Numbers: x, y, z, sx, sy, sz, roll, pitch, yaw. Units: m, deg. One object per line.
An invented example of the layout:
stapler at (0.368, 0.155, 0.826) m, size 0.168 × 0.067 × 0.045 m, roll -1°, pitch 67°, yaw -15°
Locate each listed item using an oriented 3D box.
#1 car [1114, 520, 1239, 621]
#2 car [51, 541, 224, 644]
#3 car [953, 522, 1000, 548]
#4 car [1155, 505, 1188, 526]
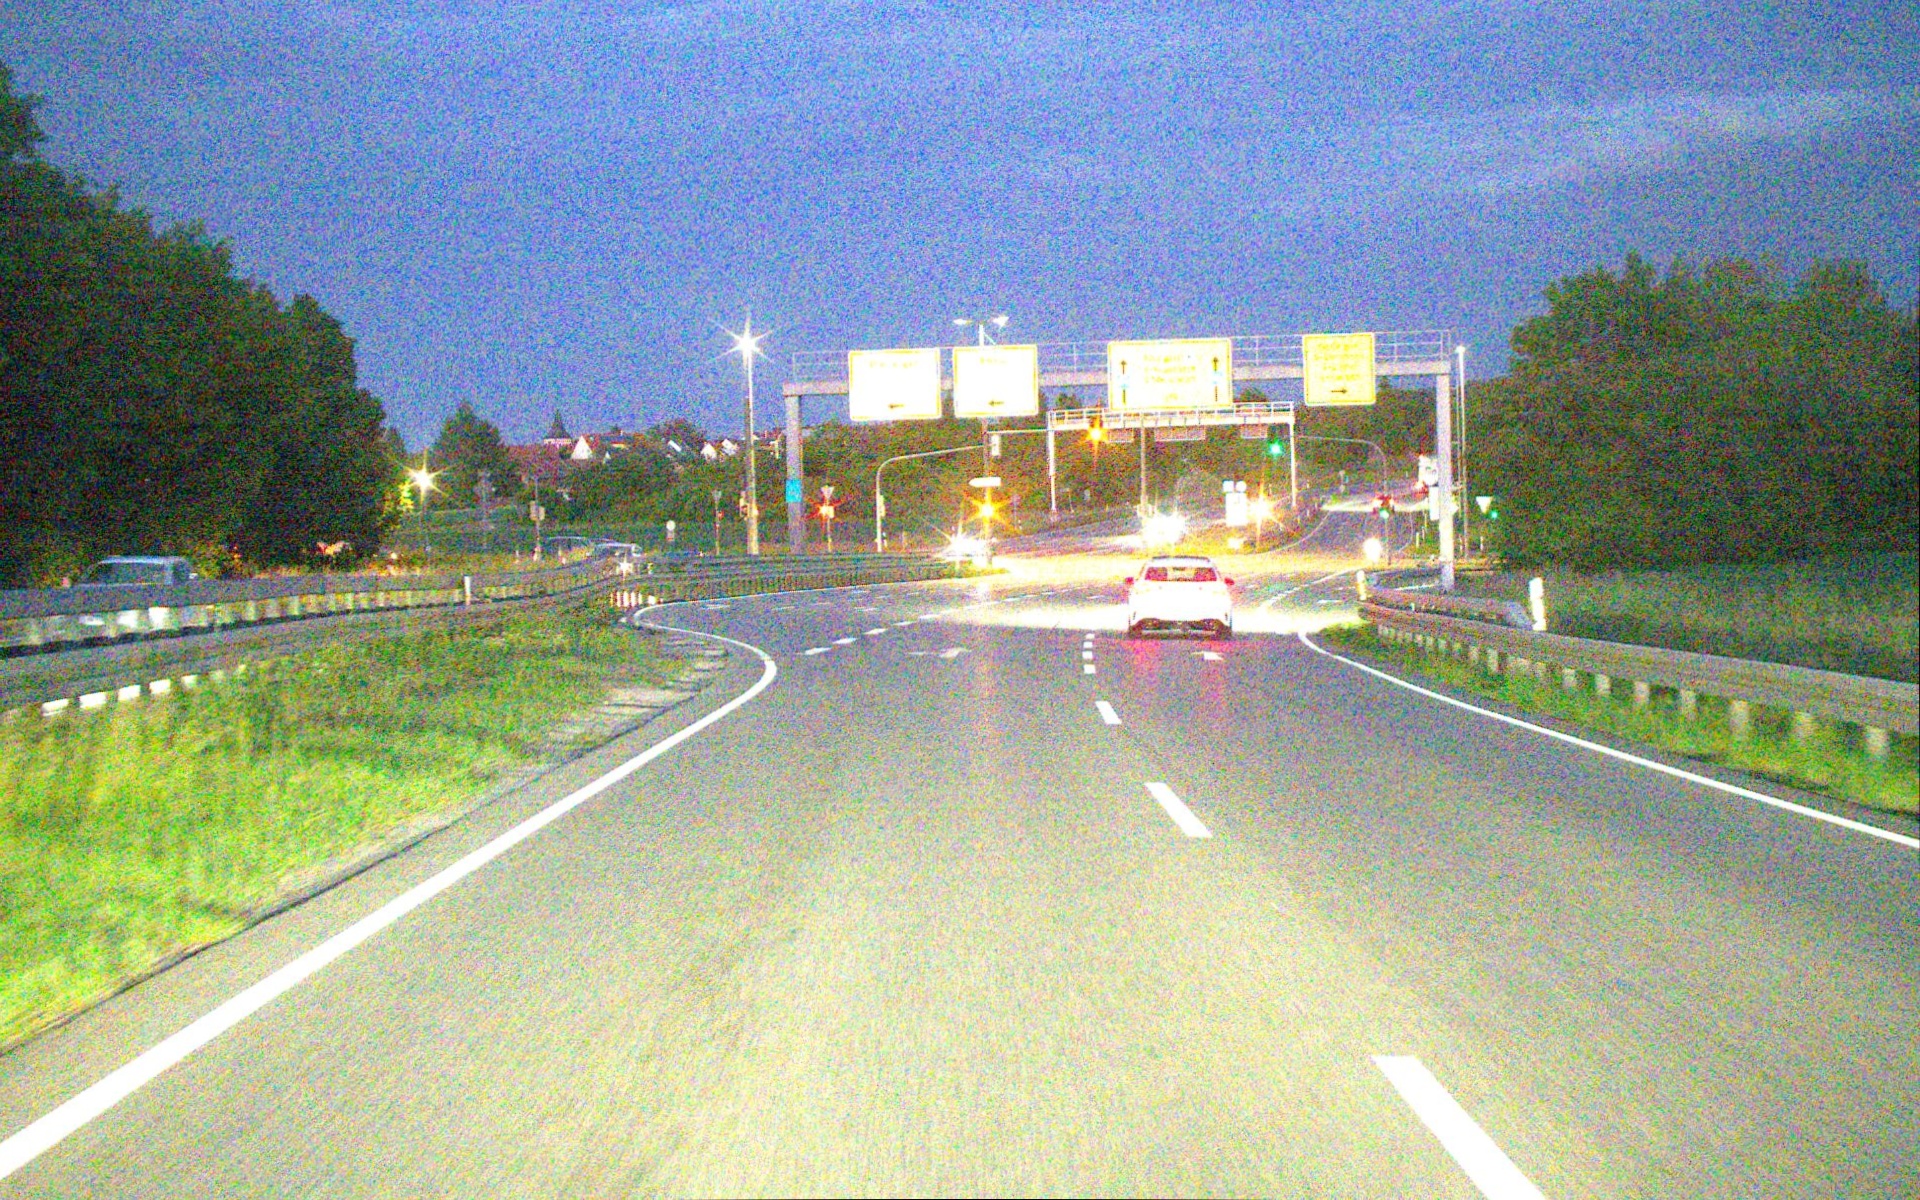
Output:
car at (3.763, -0.539, 60.252) m, size 2.008 × 1.605 × 3.845 m, roll -3°, pitch 1°, yaw 2°
car at (-14.250, -0.165, 59.777) m, size 1.770 × 1.635 × 4.661 m, roll -3°, pitch 1°, yaw 1°
car at (0.978, -3.684, 195.782) m, size 1.994 × 1.420 × 4.531 m, roll 0°, pitch 2°, yaw 9°
car at (15.454, -6.192, 250.983) m, size 1.994 × 1.476 × 4.680 m, roll 0°, pitch 2°, yaw 9°
